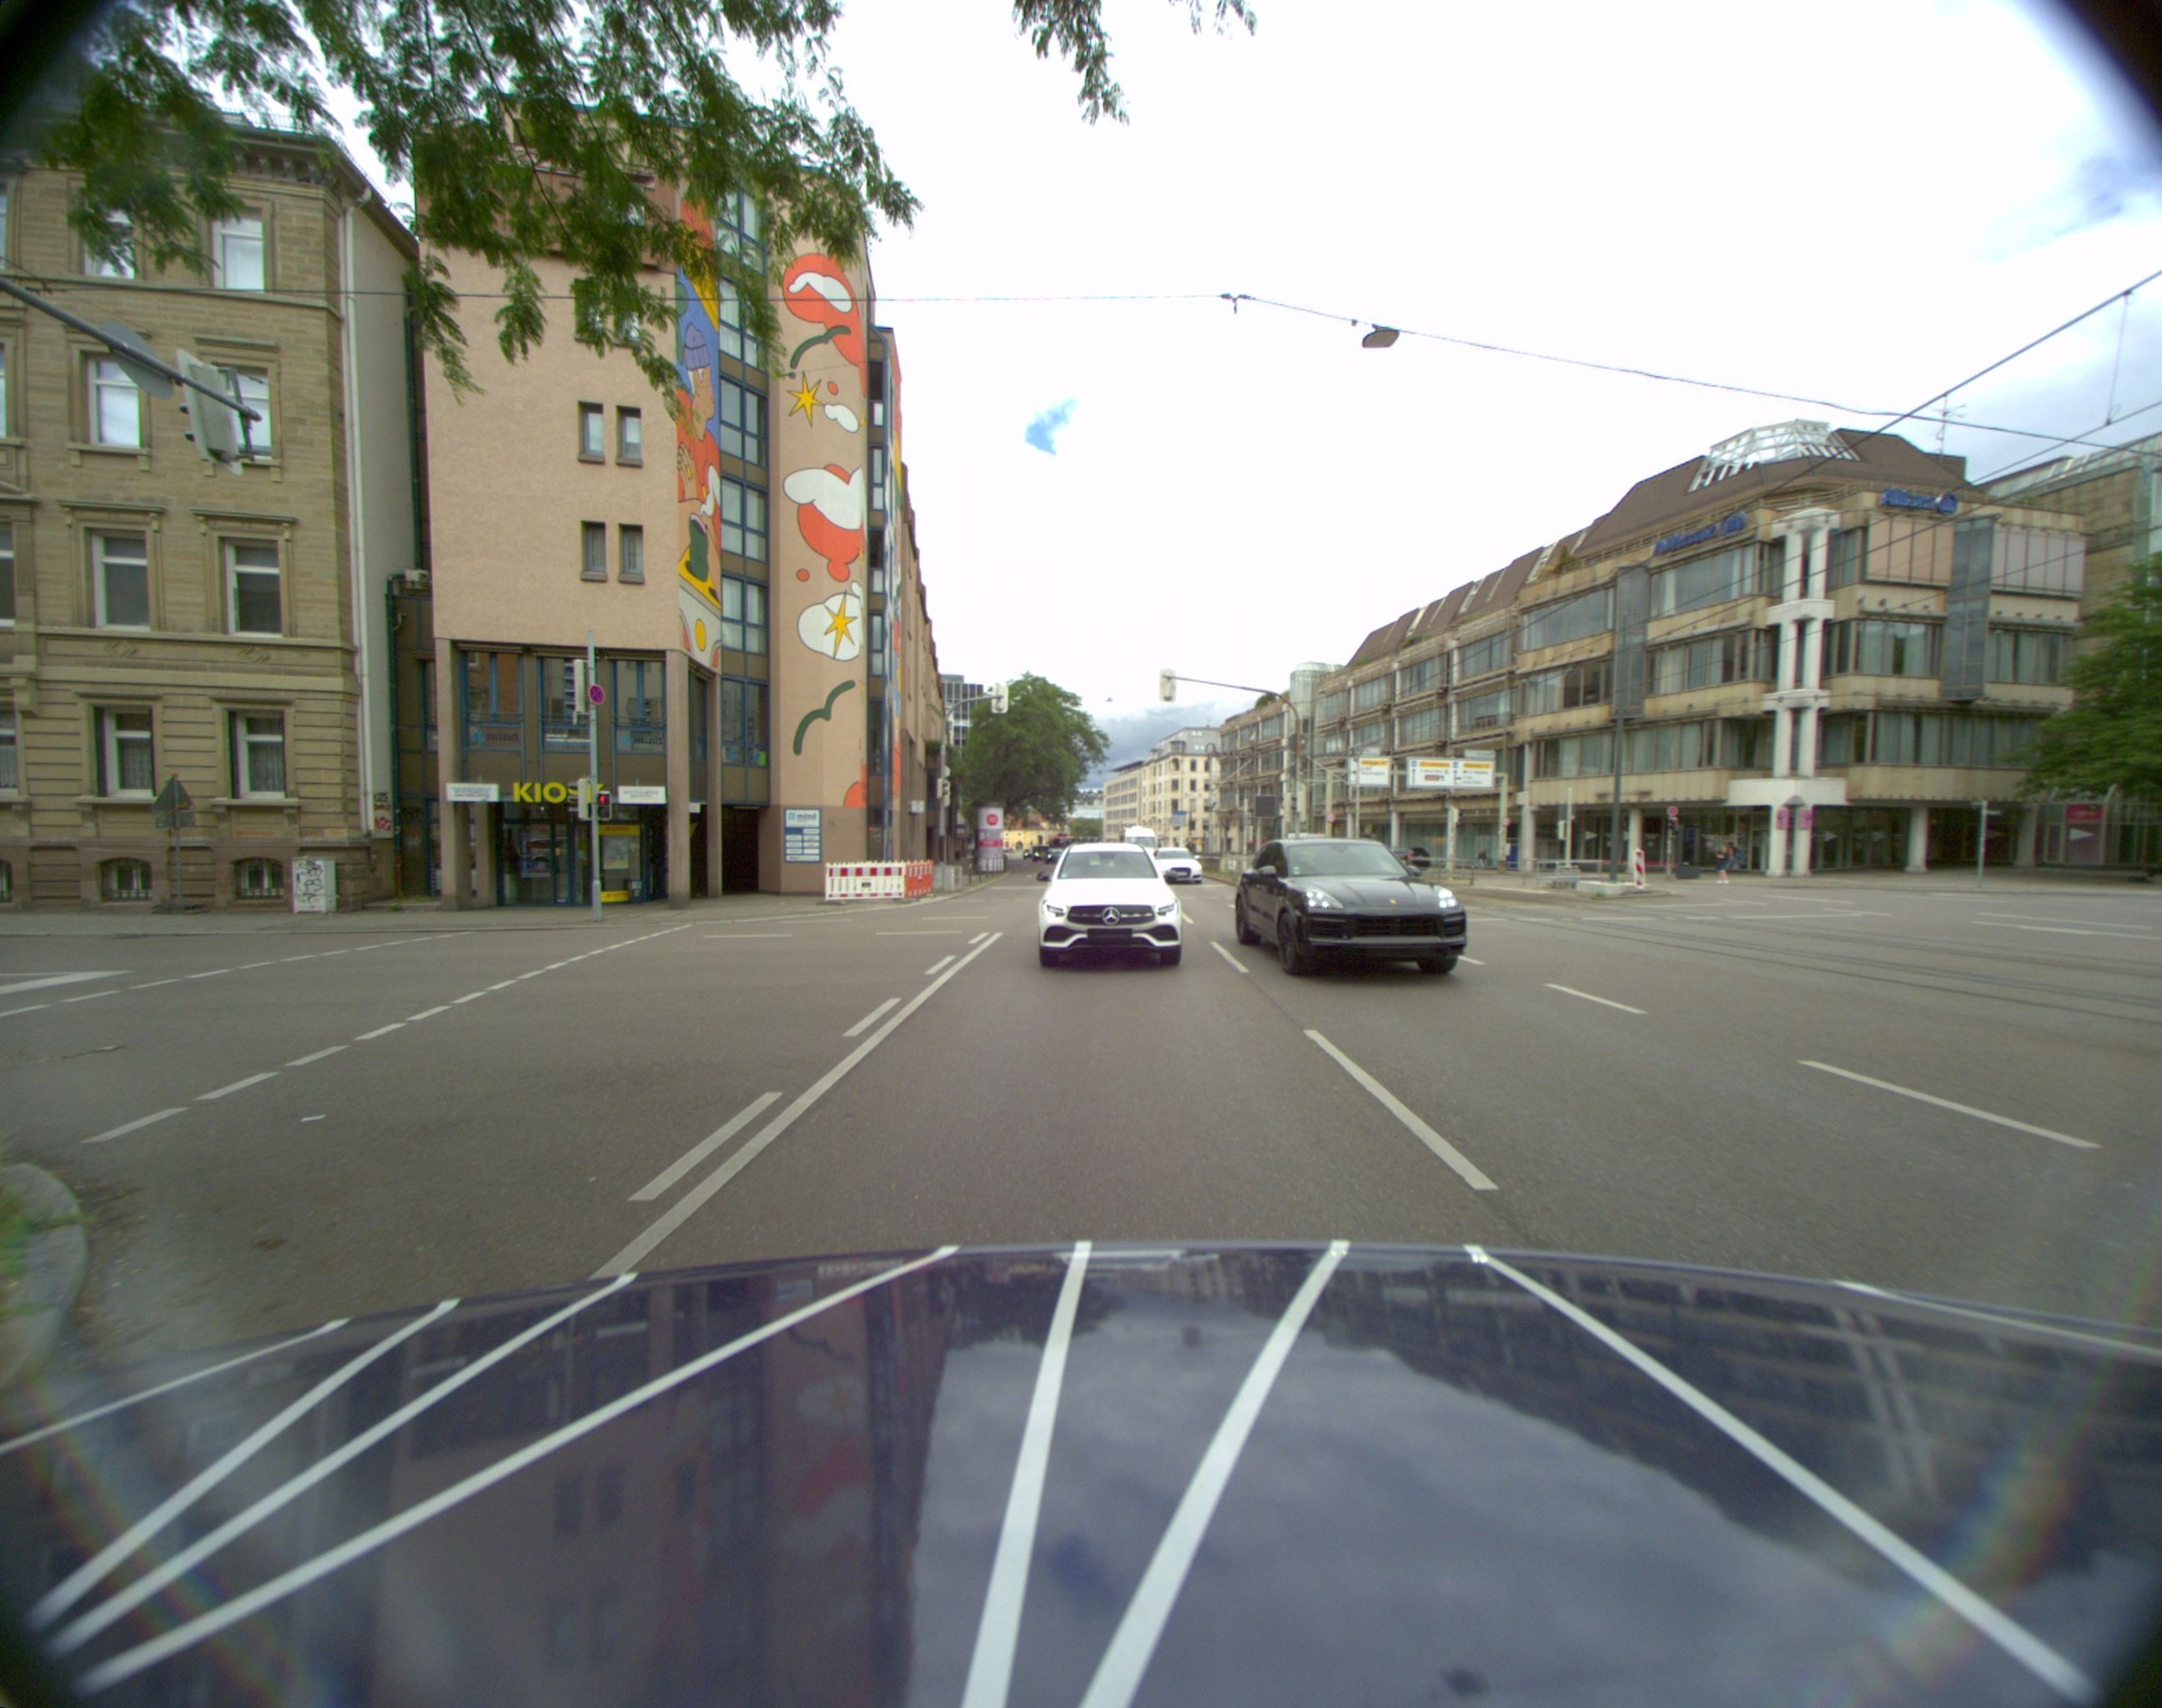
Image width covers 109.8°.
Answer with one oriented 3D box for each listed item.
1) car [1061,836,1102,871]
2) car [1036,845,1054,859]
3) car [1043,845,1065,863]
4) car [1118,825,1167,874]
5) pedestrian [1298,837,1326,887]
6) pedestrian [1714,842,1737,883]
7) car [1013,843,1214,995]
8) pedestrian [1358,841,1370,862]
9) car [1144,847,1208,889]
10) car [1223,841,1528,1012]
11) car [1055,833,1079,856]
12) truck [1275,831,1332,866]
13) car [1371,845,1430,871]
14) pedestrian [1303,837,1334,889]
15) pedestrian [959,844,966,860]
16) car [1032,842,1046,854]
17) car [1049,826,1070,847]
[{"bbox_3d":[0.000,-0.098,50.533,2.503,2.145,5.726,-1,1,0],"label":"car"},{"bbox_3d":[-4.030,-0.257,84.707,1.950,1.521,3.998,-1,1,-3],"label":"car"},{"bbox_3d":[-2.500,-0.006,70.719,1.950,1.521,3.998,-1,1,-3],"label":"car"},{"bbox_3d":[3.590,-0.319,45.767,2.282,2.744,5.938,-1,1,-1],"label":"car"},{"bbox_3d":[7.924,0.264,26.091,0.766,1.712,0.637,0,1,-1],"label":"pedestrian"},{"bbox_3d":[28.187,0.372,33.220,0.511,1.769,0.577,0,1,1],"label":"pedestrian"},{"bbox_3d":[0.204,0.676,10.320,2.061,1.599,3.923,-1,1,-7],"label":"car"},{"bbox_3d":[25.386,-0.230,68.058,0.733,1.801,0.739,-1,2,-6],"label":"pedestrian"},{"bbox_3d":[3.881,0.529,31.591,1.950,1.521,3.998,-1,1,-3],"label":"car"},{"bbox_3d":[3.406,0.709,10.170,2.088,1.665,5.352,-1,0,1],"label":"car"},{"bbox_3d":[-1.858,-1.239,97.058,2.504,2.793,5.723,-1,1,-6],"label":"car"},{"bbox_3d":[20.737,-0.542,71.253,2.274,3.059,7.367,2,1,-8],"label":"truck"},{"bbox_3d":[22.565,0.235,53.946,1.679,1.749,4.778,-1,1,-7],"label":"car"},{"bbox_3d":[7.900,0.285,25.312,0.794,1.712,0.772,0,1,-1],"label":"pedestrian"},{"bbox_3d":[-12.882,-0.240,82.514,0.711,1.701,0.687,0,1,-1],"label":"pedestrian"},{"bbox_3d":[-5.734,-0.795,103.887,1.950,1.521,3.998,-1,1,-3],"label":"car"},{"bbox_3d":[-2.977,-2.368,104.700,2.504,2.793,5.723,-1,1,-6],"label":"car"}]
